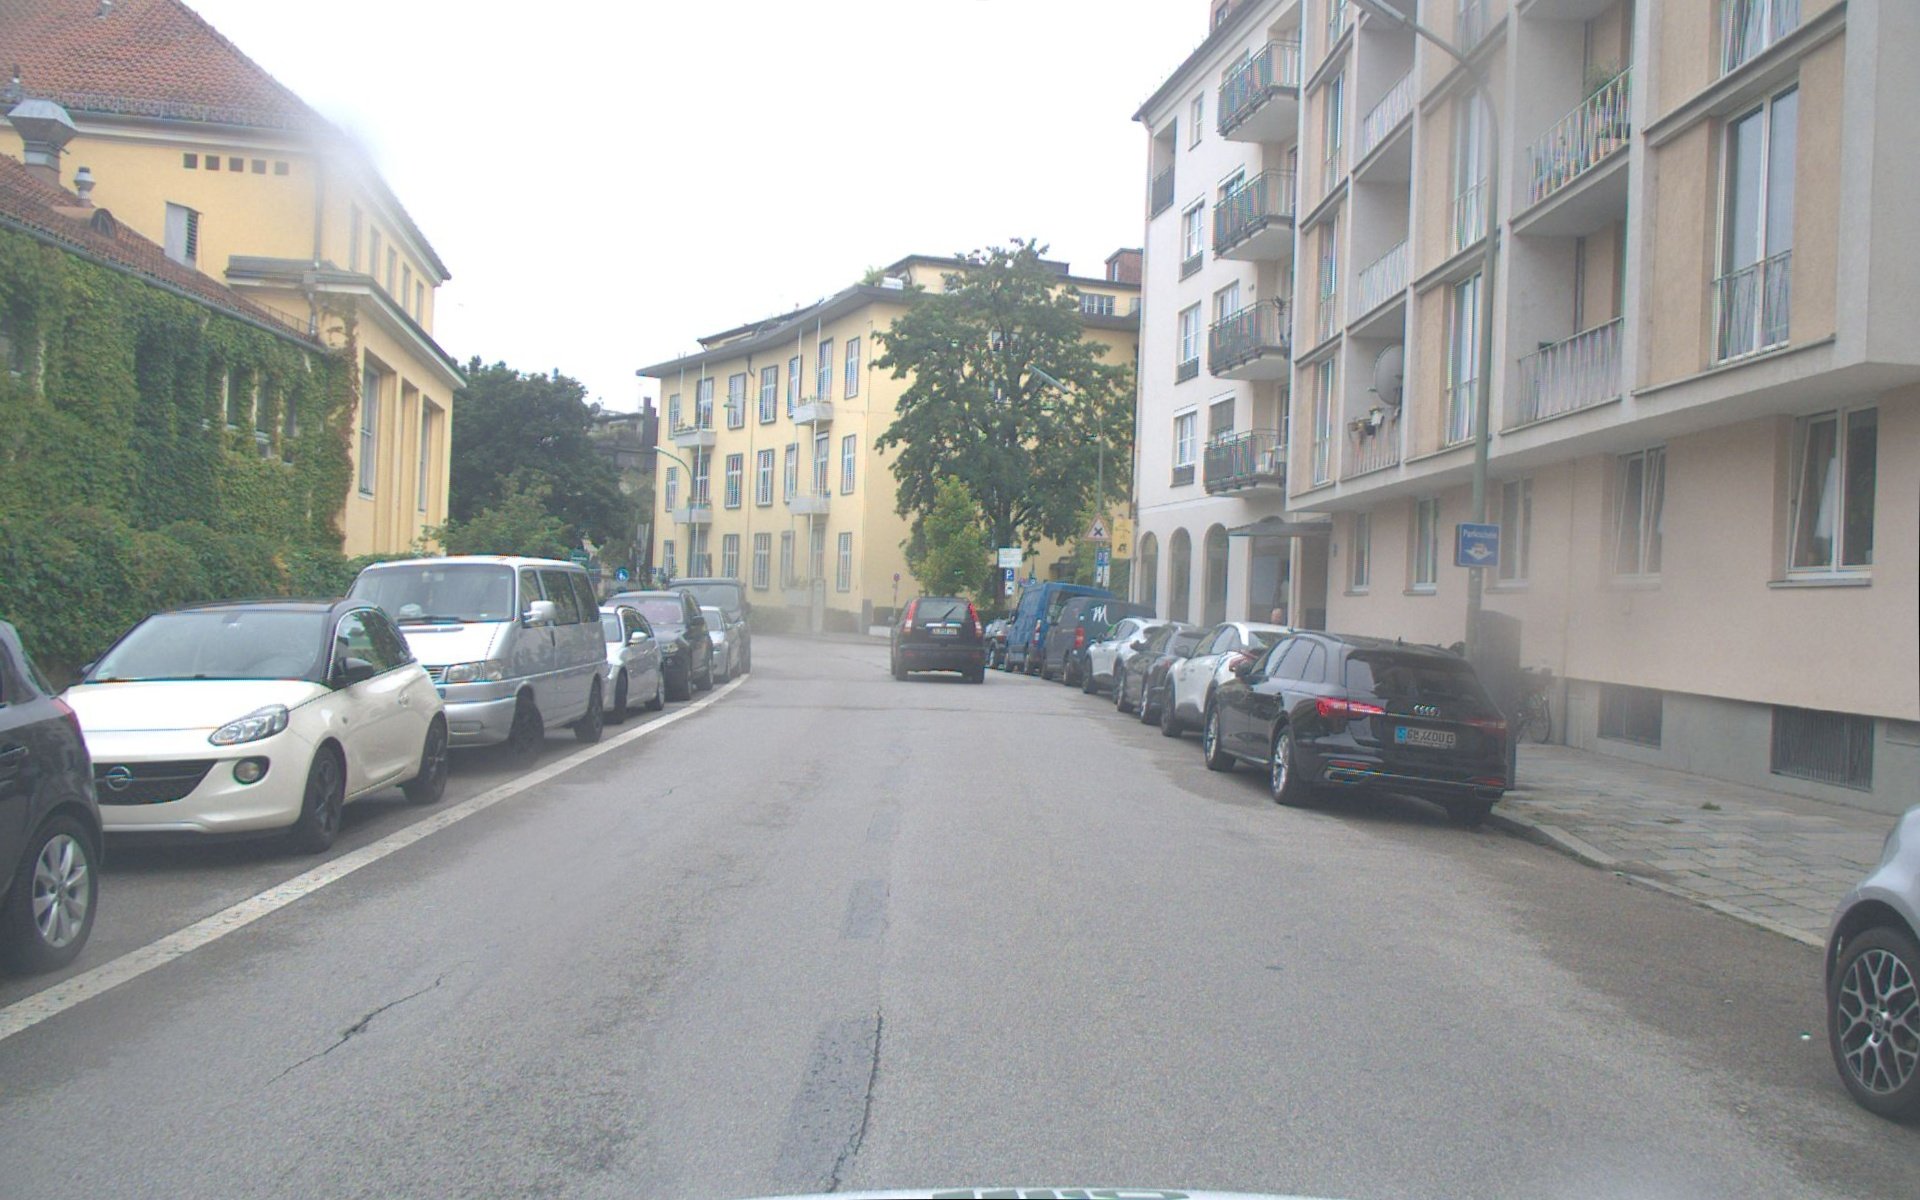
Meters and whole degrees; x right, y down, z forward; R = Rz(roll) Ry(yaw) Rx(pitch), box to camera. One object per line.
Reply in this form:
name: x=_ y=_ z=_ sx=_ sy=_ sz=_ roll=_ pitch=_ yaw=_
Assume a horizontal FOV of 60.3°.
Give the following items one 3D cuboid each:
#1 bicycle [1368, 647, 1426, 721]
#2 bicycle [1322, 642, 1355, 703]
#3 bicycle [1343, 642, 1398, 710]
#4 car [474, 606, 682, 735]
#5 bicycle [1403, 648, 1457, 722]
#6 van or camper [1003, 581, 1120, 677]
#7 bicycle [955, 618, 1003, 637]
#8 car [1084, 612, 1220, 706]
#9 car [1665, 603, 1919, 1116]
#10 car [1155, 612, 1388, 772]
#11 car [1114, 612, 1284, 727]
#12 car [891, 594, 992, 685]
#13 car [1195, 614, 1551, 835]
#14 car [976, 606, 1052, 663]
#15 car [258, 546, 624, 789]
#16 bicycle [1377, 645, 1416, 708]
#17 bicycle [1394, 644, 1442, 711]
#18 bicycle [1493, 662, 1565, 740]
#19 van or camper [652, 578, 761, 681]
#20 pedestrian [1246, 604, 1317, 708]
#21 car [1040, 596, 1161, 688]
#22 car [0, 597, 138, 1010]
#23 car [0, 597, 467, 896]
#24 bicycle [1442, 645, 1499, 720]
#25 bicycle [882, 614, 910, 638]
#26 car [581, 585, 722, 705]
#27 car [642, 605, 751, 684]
bicycle: x=6.601 y=1.259 z=25.031 sx=0.473 sy=1.041 sz=1.401 roll=1 pitch=0 yaw=-1
bicycle: x=6.799 y=1.299 z=29.753 sx=0.414 sy=1.041 sz=1.199 roll=1 pitch=0 yaw=5
bicycle: x=7.417 y=1.356 z=29.908 sx=0.522 sy=1.153 sz=1.407 roll=1 pitch=0 yaw=-5
car: x=-4.797 y=0.825 z=21.392 sx=1.666 sy=1.447 sz=4.424 roll=-1 pitch=0 yaw=0
bicycle: x=7.100 y=1.276 z=25.034 sx=0.382 sy=1.041 sz=1.401 roll=1 pitch=0 yaw=-1
van or camper: x=2.496 y=0.702 z=42.064 sx=2.021 sy=2.270 sz=5.429 roll=0 pitch=0 yaw=-7
bicycle: x=0.890 y=1.298 z=78.355 sx=2.163 sy=0.792 sz=0.611 roll=2 pitch=0 yaw=12
car: x=3.451 y=1.028 z=30.447 sx=1.705 sy=1.564 sz=4.270 roll=1 pitch=0 yaw=-4
car: x=3.816 y=0.870 z=4.919 sx=1.638 sy=1.561 sz=3.880 roll=5 pitch=0 yaw=-1
car: x=3.593 y=1.002 z=19.856 sx=1.705 sy=1.525 sz=4.217 roll=5 pitch=0 yaw=-3
car: x=3.482 y=0.971 z=24.883 sx=1.704 sy=1.525 sz=4.493 roll=1 pitch=0 yaw=-3
car: x=-0.352 y=0.761 z=34.215 sx=1.954 sy=1.724 sz=4.380 roll=1 pitch=0 yaw=0
car: x=3.495 y=0.980 z=14.935 sx=1.761 sy=1.444 sz=4.480 roll=7 pitch=0 yaw=-3
car: x=1.519 y=0.971 z=47.869 sx=1.671 sy=1.544 sz=3.953 roll=0 pitch=0 yaw=-7
car: x=-4.655 y=0.544 z=15.670 sx=1.953 sy=1.908 sz=4.757 roll=-1 pitch=0 yaw=0
bicycle: x=7.568 y=1.311 z=28.704 sx=0.366 sy=1.041 sz=1.001 roll=1 pitch=0 yaw=-2
bicycle: x=7.599 y=1.280 z=27.488 sx=0.382 sy=1.041 sz=1.401 roll=1 pitch=0 yaw=-1
bicycle: x=7.541 y=1.322 z=21.967 sx=0.435 sy=0.952 sz=1.401 roll=1 pitch=0 yaw=-1
van or camper: x=-5.516 y=0.609 z=36.531 sx=1.922 sy=2.101 sz=4.750 roll=0 pitch=0 yaw=-3
pedestrian: x=5.474 y=0.939 z=28.195 sx=0.880 sy=1.717 sz=1.319 roll=1 pitch=0 yaw=-3
car: x=2.997 y=0.854 z=36.244 sx=1.925 sy=1.848 sz=4.932 roll=1 pitch=0 yaw=-4
car: x=-4.206 y=0.761 z=5.027 sx=1.547 sy=1.481 sz=3.903 roll=-1 pitch=0 yaw=-2
car: x=-4.410 y=0.760 z=10.493 sx=1.547 sy=1.518 sz=3.728 roll=-1 pitch=0 yaw=-2
bicycle: x=7.565 y=1.207 z=24.534 sx=0.382 sy=1.041 sz=1.401 roll=1 pitch=0 yaw=-1
bicycle: x=-3.153 y=1.267 z=81.571 sx=0.600 sy=1.091 sz=2.200 roll=1 pitch=0 yaw=-24
car: x=-4.853 y=0.657 z=26.508 sx=1.587 sy=1.760 sz=4.422 roll=0 pitch=0 yaw=-2
car: x=-5.019 y=0.813 z=31.927 sx=1.587 sy=1.402 sz=4.070 roll=0 pitch=0 yaw=-2
